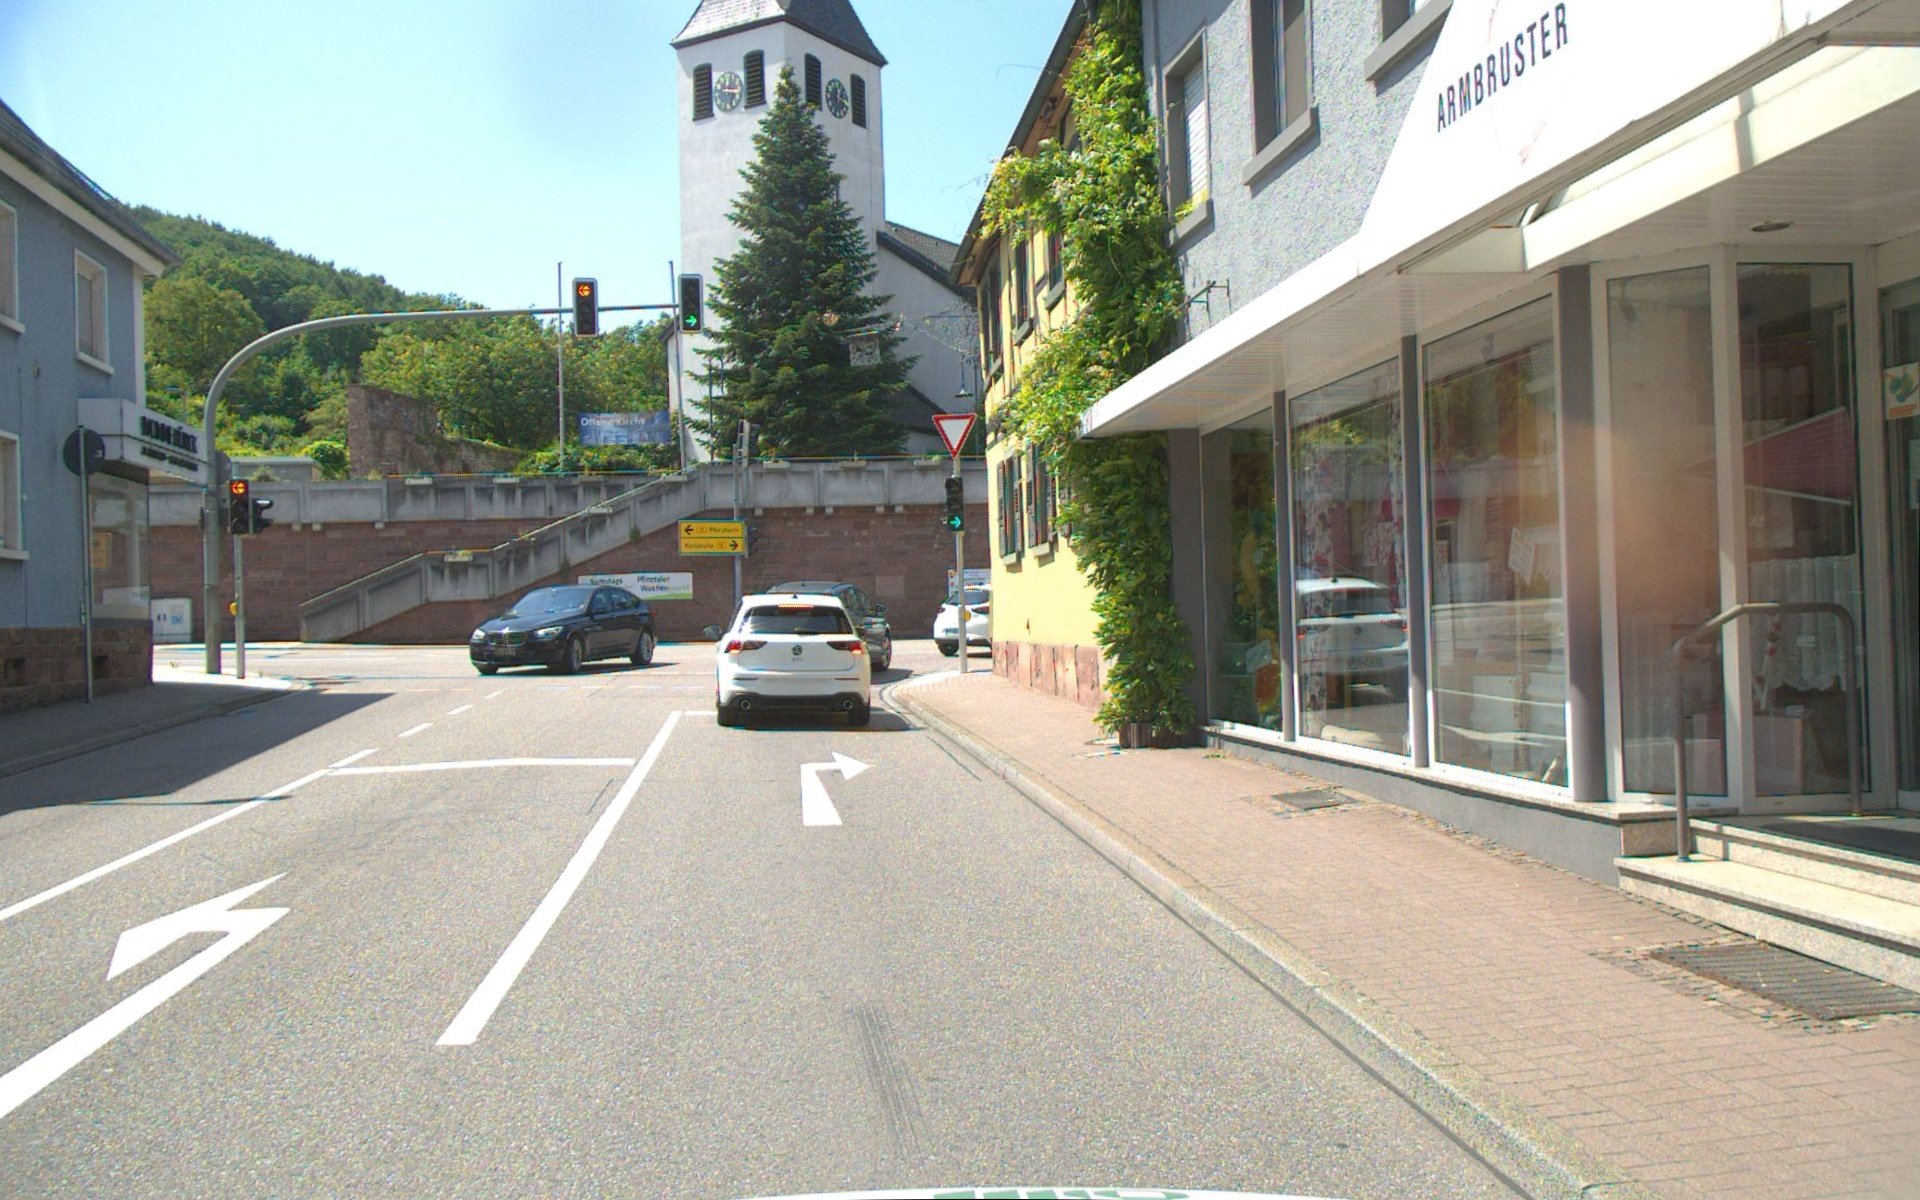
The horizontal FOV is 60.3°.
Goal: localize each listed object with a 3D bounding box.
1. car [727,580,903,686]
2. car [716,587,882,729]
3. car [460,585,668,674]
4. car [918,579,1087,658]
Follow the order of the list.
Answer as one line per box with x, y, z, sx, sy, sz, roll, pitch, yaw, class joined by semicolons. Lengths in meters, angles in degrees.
-2.416;0.504;28.795;1.907;1.610;4.330;0;2;11;car
-1.953;0.630;19.769;1.749;1.484;3.857;-1;0;-7;car
-7.288;0.491;30.983;1.758;1.513;4.801;0;0;14;car
0.979;0.346;35.850;1.741;1.522;3.973;0;2;35;car
